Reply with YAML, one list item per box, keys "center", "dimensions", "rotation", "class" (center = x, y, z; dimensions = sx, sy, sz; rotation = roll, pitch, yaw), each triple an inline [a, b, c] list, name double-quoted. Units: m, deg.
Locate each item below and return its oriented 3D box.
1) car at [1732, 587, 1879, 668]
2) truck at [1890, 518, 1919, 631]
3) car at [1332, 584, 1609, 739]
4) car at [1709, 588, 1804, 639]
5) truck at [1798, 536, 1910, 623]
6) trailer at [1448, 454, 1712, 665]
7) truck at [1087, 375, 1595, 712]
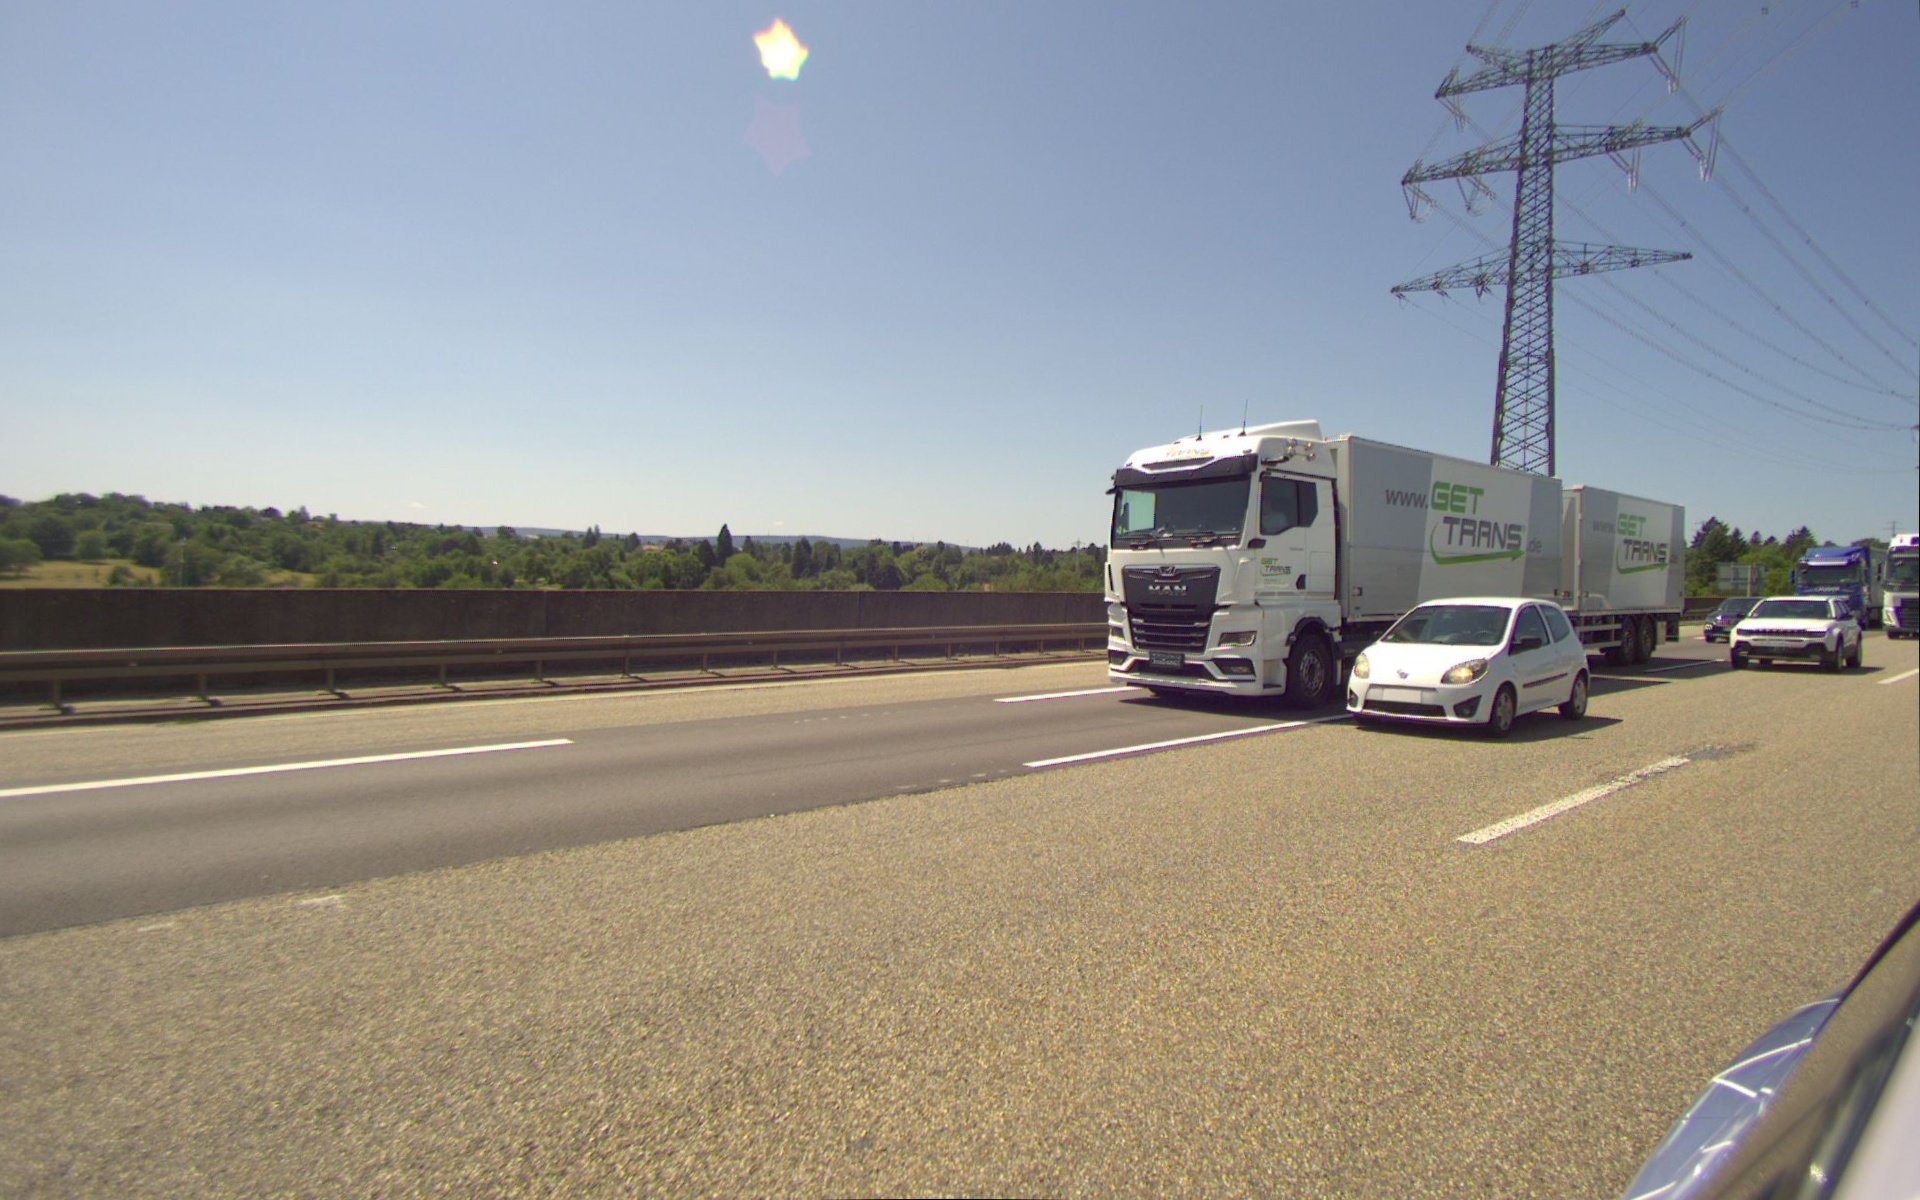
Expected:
- center: [17.910, 0.513, 21.396]
  dimensions: [3.784, 1.549, 1.775]
  rotation: [-1, 0, -40]
  class: "car"
- center: [40.407, -0.937, 40.698]
  dimensions: [14.003, 4.090, 2.716]
  rotation: [0, 0, -41]
  class: "truck"
- center: [6.085, 0.588, 11.885]
  dimensions: [3.760, 1.529, 1.657]
  rotation: [-1, 0, -42]
  class: "car"
- center: [26.729, 0.411, 33.916]
  dimensions: [3.931, 1.598, 1.819]
  rotation: [-1, 1, -41]
  class: "car"
- center: [44.718, -0.991, 50.442]
  dimensions: [11.079, 3.929, 2.838]
  rotation: [-1, 0, -42]
  class: "truck"
- center: [14.048, -0.772, 22.650]
  dimensions: [7.635, 3.991, 2.750]
  rotation: [0, 0, -40]
  class: "trailer"
- center: [6.866, -0.693, 16.578]
  dimensions: [11.096, 3.980, 2.694]
  rotation: [0, 0, -40]
  class: "truck"
